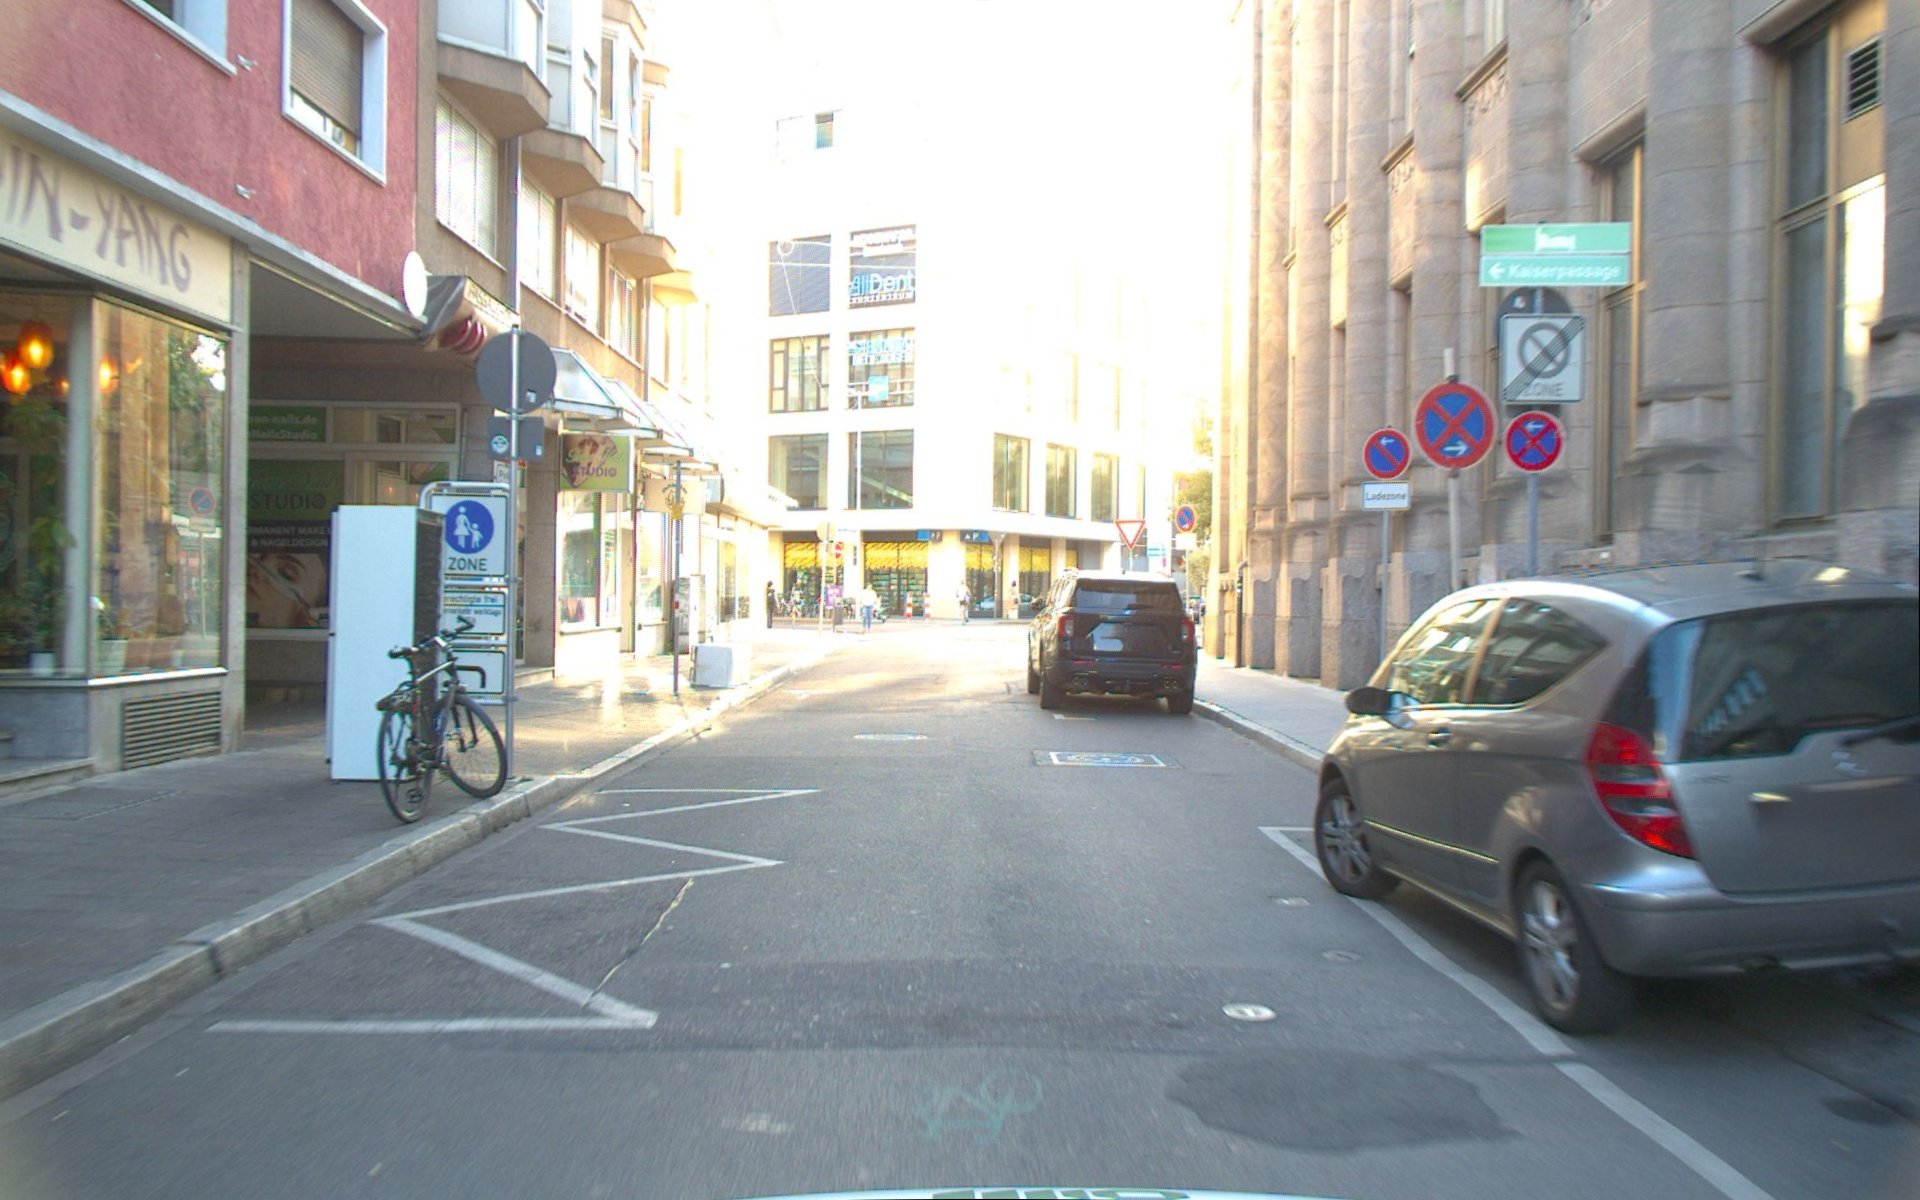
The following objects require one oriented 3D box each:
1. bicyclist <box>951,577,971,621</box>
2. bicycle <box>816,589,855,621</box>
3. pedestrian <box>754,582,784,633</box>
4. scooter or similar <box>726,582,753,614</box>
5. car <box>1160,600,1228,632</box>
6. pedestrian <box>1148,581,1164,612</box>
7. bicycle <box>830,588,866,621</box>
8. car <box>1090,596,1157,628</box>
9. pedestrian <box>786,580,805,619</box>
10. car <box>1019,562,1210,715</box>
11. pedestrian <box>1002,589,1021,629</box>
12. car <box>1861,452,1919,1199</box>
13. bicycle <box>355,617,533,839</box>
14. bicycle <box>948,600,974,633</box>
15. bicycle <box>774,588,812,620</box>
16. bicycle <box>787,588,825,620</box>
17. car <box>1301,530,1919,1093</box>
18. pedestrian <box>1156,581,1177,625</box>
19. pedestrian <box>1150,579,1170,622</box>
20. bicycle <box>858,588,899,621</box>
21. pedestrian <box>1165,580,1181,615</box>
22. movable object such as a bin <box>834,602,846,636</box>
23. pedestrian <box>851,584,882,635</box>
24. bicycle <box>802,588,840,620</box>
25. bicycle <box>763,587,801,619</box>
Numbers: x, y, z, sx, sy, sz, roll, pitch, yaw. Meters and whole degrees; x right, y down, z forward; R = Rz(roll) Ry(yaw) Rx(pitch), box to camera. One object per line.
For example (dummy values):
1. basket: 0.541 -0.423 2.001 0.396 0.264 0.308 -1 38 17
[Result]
1. bicyclist: 0.049 -0.038 65.082 0.670 1.725 0.642 1 0 -12
2. bicycle: -5.007 0.210 66.725 0.502 1.277 1.974 1 -1 31
3. pedestrian: -6.395 0.263 55.422 0.856 1.687 0.615 1 0 -20
4. scooter or similar: -8.837 -0.071 66.350 0.379 1.282 1.269 1 -1 29
5. car: 12.501 0.857 88.035 1.850 1.626 4.677 1 0 32
6. pedestrian: 10.766 -0.178 90.716 0.659 1.704 0.646 1 0 28
7. bicycle: -4.500 0.200 66.460 0.502 1.277 1.977 1 -1 26
8. car: 7.972 0.569 80.423 1.744 1.478 4.223 1 0 29
9. pedestrian: -7.444 -0.023 74.765 0.627 1.753 0.839 1 0 -25
10. car: 1.950 0.460 22.373 1.953 1.814 4.933 1 0 -2
11. pedestrian: 2.339 0.415 75.085 0.659 1.775 0.646 0 -1 31
12. car: 2.899 0.619 1.694 1.636 1.838 4.239 2 0 0
13. bicycle: -3.143 0.731 10.239 0.532 1.212 1.842 1 0 -1
14. bicycle: 0.024 0.652 65.123 0.600 1.277 1.973 1 -1 -12
15. bicycle: -6.859 0.167 67.888 0.502 1.277 1.975 1 -1 29
16. bicycle: -6.289 0.164 67.607 0.502 1.277 1.976 1 -1 28
17. car: 2.834 0.641 7.035 1.738 1.695 3.997 0 0 -3
18. pedestrian: 8.039 0.114 64.462 0.688 1.699 0.643 1 1 17
19. pedestrian: 7.908 0.015 65.439 0.688 1.699 0.643 1 1 17
20. bicycle: -3.245 0.201 65.887 0.651 1.277 2.138 1 -1 26
21. pedestrian: 11.607 -0.137 90.193 0.659 1.868 0.646 1 0 28
22. movable object such as a bin: -3.845 0.613 53.025 0.352 1.082 0.355 1 -1 -11
23. pedestrian: -3.066 0.319 54.236 0.794 1.641 0.727 1 -1 -30
24. bicycle: -5.637 0.171 67.195 0.502 1.277 1.975 1 -1 29
25. bicycle: -7.328 0.145 68.196 0.502 1.277 1.975 1 -1 29
